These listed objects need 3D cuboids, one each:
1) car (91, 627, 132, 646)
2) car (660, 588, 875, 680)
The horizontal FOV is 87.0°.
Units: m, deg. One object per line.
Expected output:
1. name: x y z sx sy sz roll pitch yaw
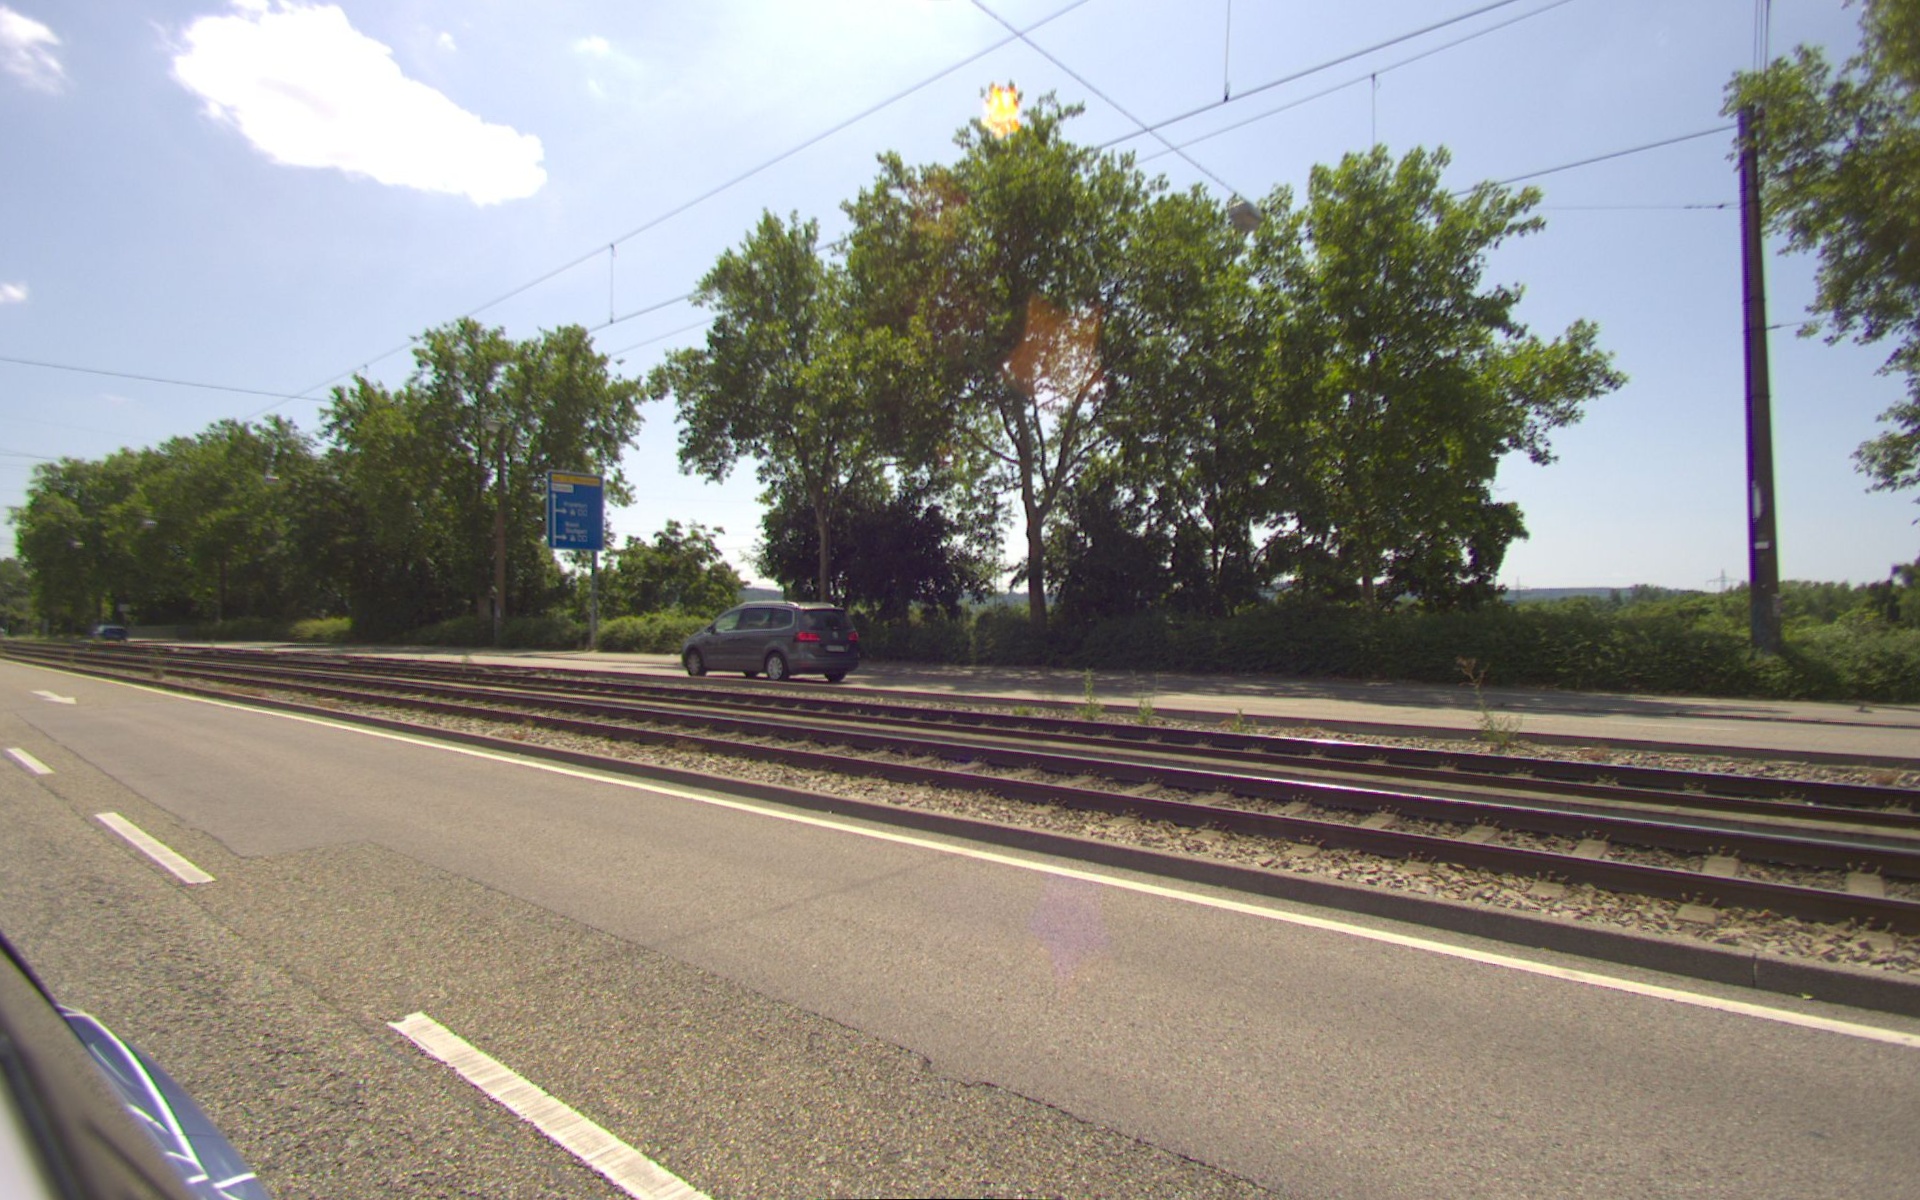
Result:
1. car: -70.401 3.007 83.945 4.731 1.515 1.780 -1 -4 40
2. car: -4.369 0.771 22.511 4.965 1.845 1.973 -1 -4 40
